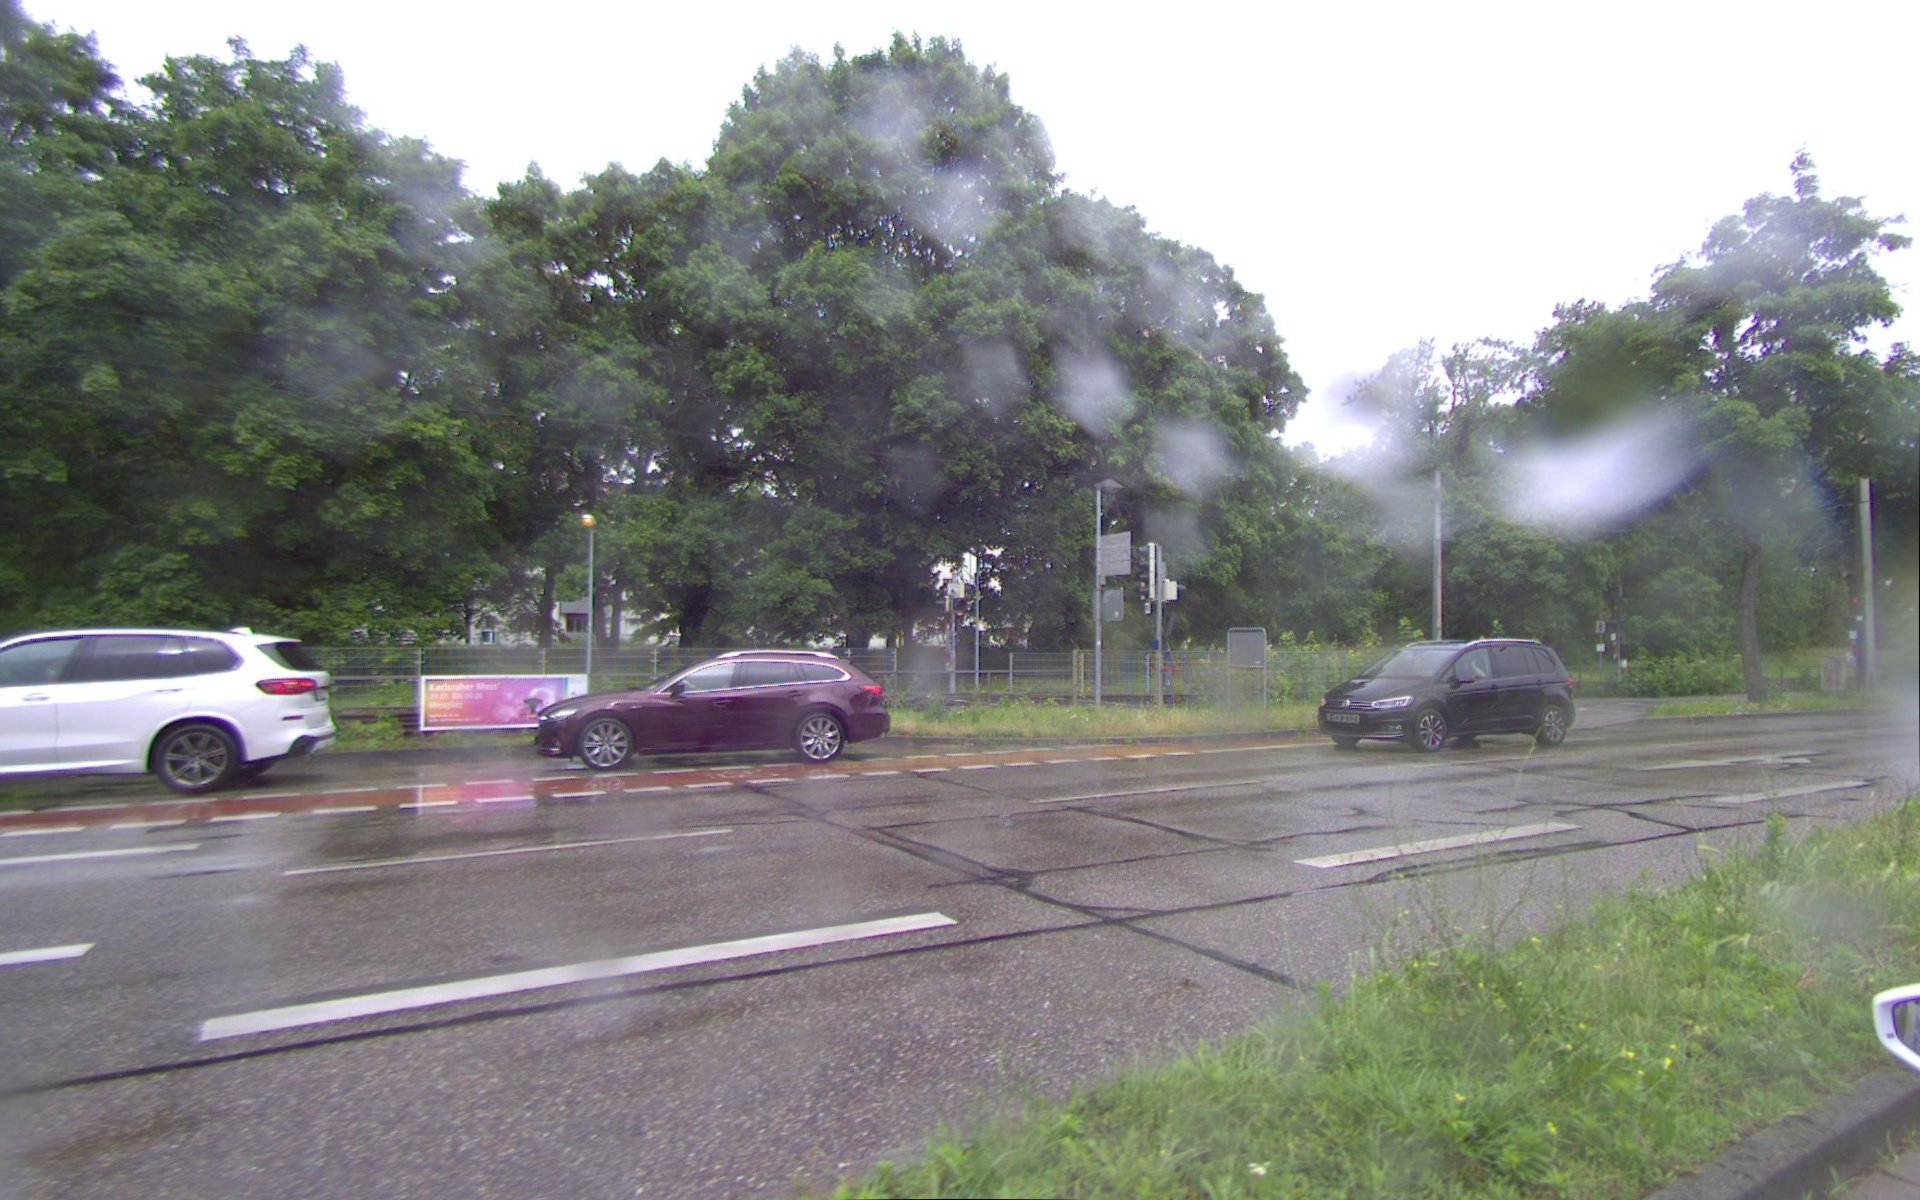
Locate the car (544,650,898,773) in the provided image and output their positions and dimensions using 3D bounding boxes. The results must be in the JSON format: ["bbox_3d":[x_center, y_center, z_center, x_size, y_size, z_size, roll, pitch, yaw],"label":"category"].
[{"bbox_3d":[-3.212,1.446,13.876,4.432,1.505,1.873,1,-3,-15],"label":"car"}]

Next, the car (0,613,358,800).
[{"bbox_3d":[-9.555,1.129,11.042,4.704,1.851,1.990,2,-4,-23],"label":"car"}]

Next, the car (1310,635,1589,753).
[{"bbox_3d":[7.802,1.433,15.981,4.273,1.663,1.702,1,-4,-26],"label":"car"}]
